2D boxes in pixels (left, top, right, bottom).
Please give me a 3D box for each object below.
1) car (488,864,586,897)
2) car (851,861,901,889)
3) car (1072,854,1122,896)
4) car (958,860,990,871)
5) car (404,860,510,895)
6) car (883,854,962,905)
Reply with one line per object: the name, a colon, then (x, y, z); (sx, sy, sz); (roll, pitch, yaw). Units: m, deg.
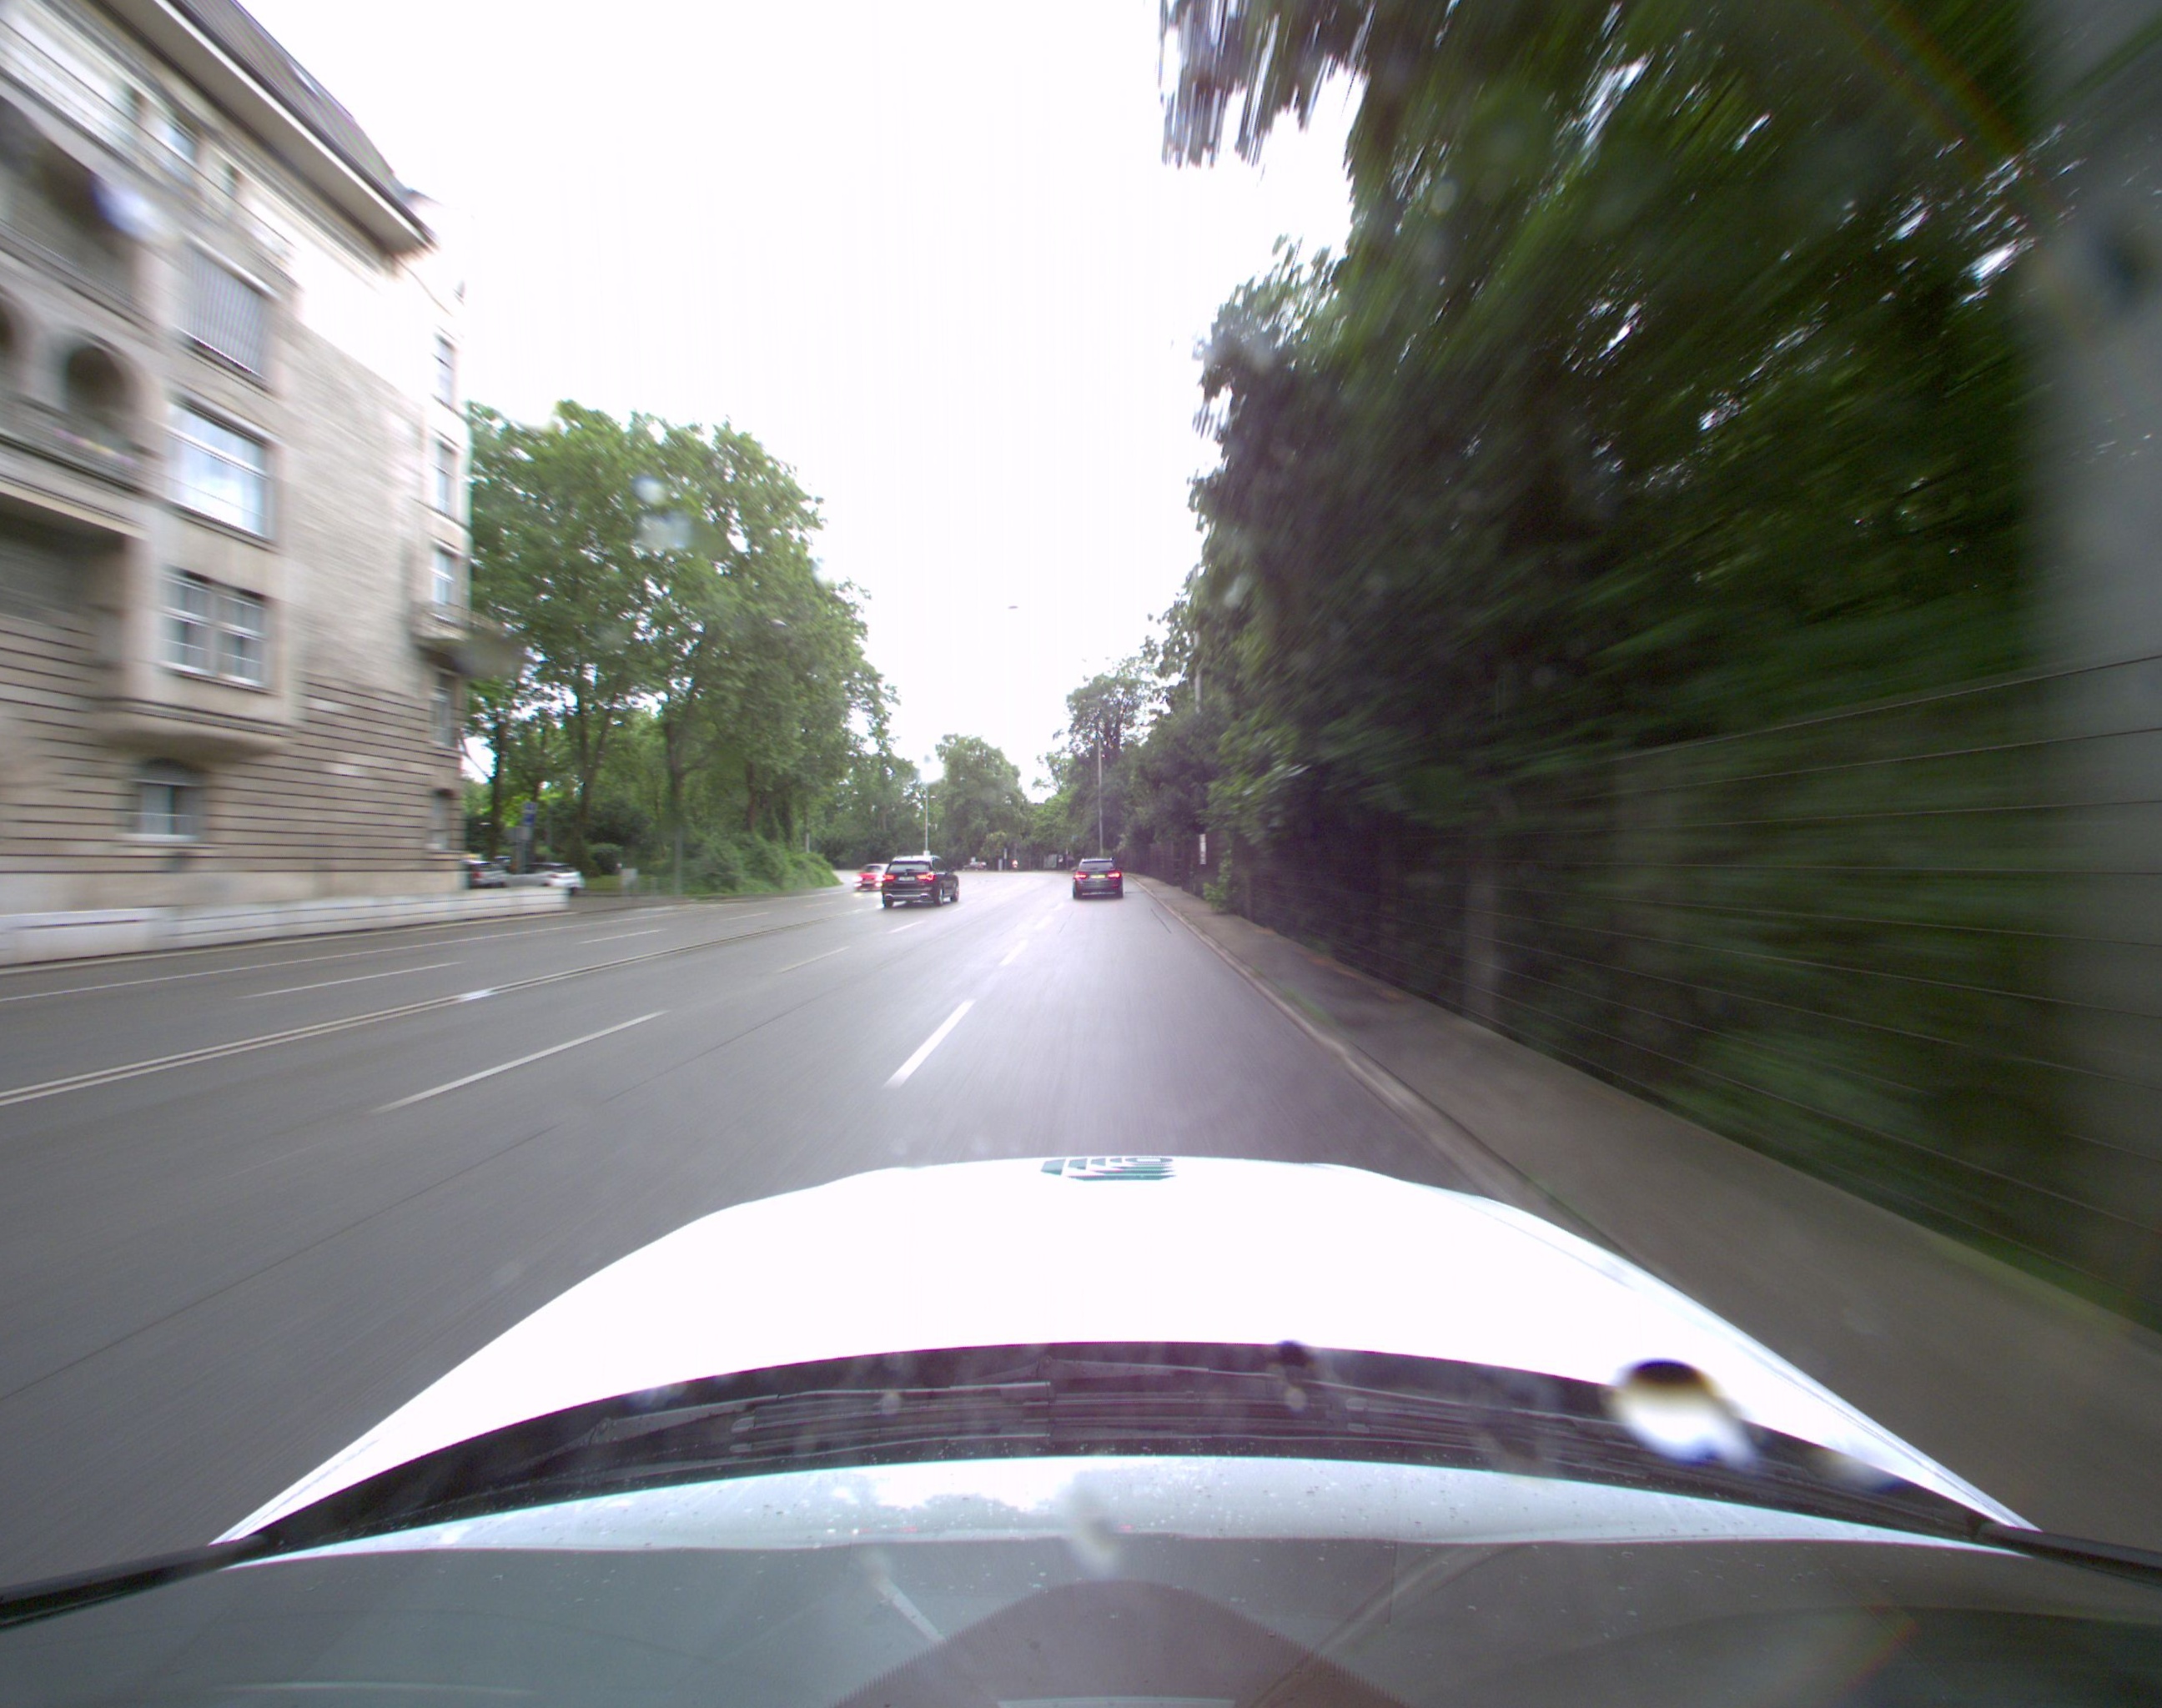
car: (-25.293, 1.238, 37.924); (3.472, 1.376, 1.784); (-1, 1, 11)
car: (-11.198, 1.100, 44.739); (1.574, 1.414, 3.963); (-1, 0, 2)
car: (0.580, 0.740, 30.429); (1.752, 1.432, 4.412); (0, 0, 0)
car: (-13.743, 1.474, 104.659); (4.316, 1.427, 1.702); (-1, -4, 44)
car: (-29.426, 1.113, 38.462); (3.790, 1.512, 1.783); (-1, 1, 8)
car: (-5.256, 0.808, 27.488); (1.752, 1.586, 4.412); (0, 0, 0)
